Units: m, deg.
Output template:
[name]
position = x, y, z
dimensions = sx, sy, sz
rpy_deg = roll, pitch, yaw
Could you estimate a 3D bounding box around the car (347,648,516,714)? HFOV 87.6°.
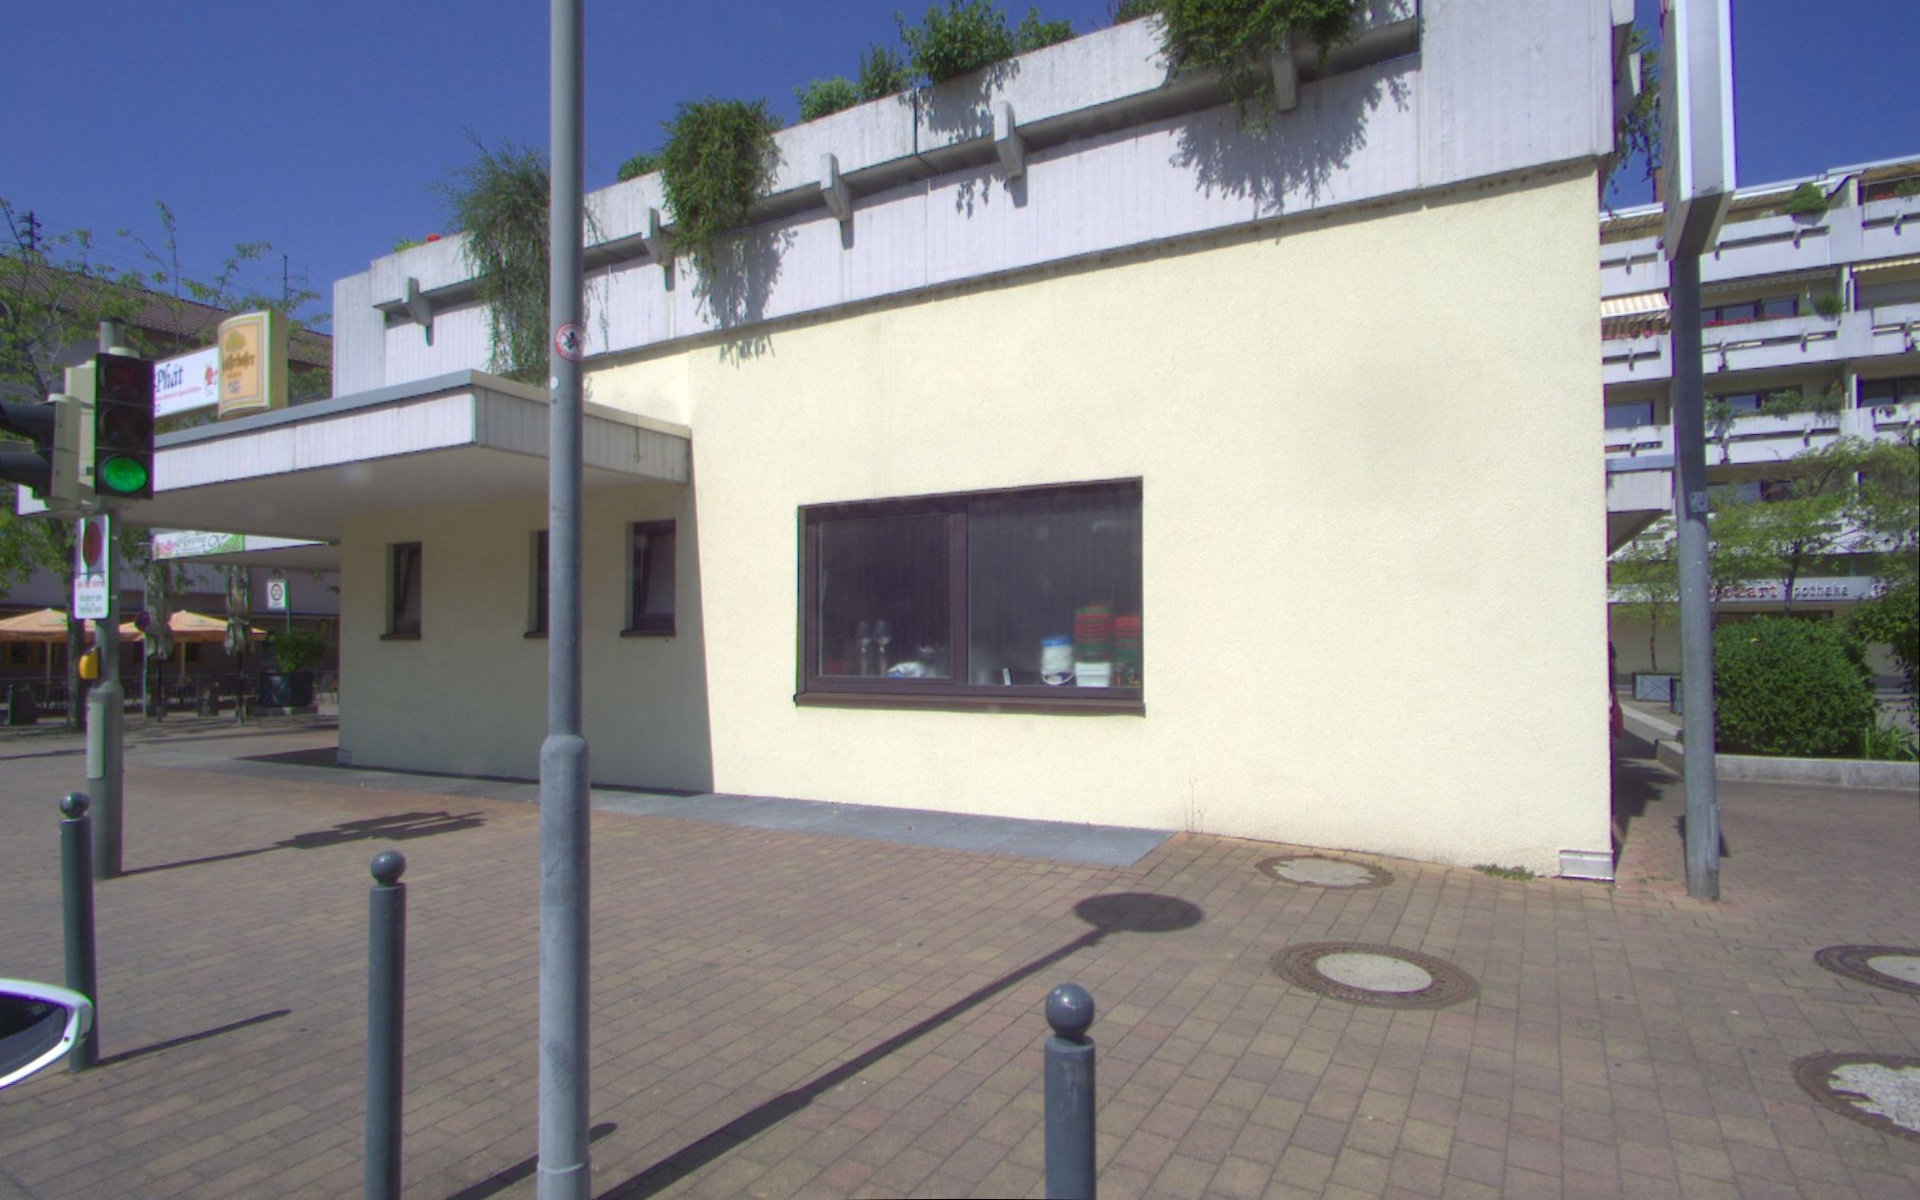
[car]
position = -13.126, 1.981, 24.866
dimensions = 3.909, 1.528, 1.767
rpy_deg = -2, -3, 26
